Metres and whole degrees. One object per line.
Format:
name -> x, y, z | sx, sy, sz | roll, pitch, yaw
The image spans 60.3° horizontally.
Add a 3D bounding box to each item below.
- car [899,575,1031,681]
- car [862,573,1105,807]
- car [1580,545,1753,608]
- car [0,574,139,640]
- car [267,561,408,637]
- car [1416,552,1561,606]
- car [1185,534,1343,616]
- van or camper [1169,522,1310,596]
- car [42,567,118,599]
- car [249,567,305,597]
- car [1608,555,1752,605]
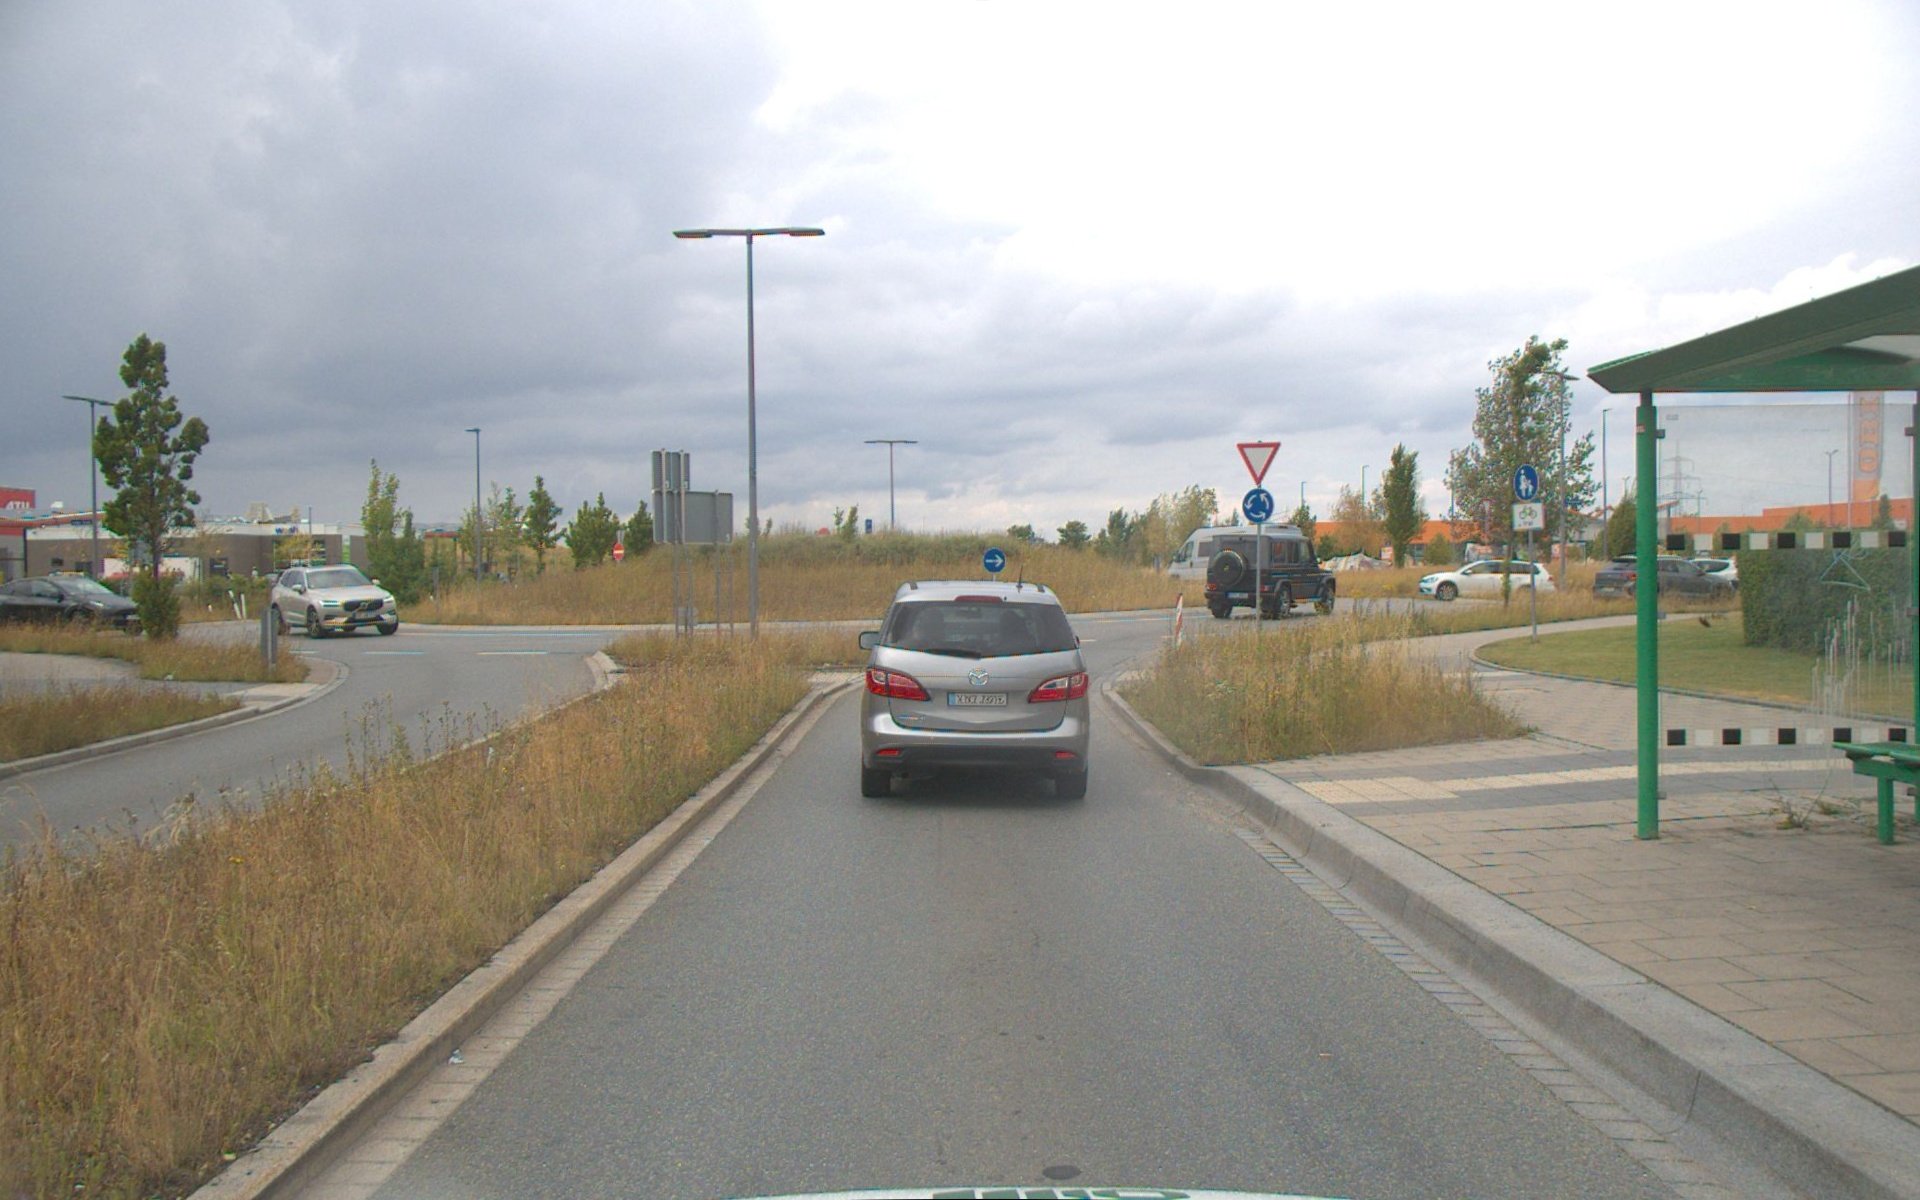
car -> 0.114, 0.358, 24.942 | 1.806, 1.443, 4.225 | -1, 1, 1
car -> 0.119, 0.603, 13.463 | 1.695, 1.628, 3.806 | 0, 1, -2
car -> 19.982, -0.682, 46.842 | 4.120, 1.620, 2.057 | -2, 1, -15
car -> -21.518, 0.143, 39.682 | 4.332, 1.510, 1.772 | 0, 1, 41
car -> -15.049, -0.041, 39.897 | 2.013, 1.720, 4.155 | -1, 0, -39
car -> 17.997, -0.700, 56.531 | 4.503, 1.788, 2.002 | 0, 0, 10
car -> 7.418, -0.590, 39.970 | 2.023, 1.857, 4.770 | 0, 0, 34
van or camper -> 10.026, -1.451, 59.714 | 2.279, 2.549, 5.152 | 0, 1, -30
car -> -57.574, -1.093, 108.286 | 3.906, 2.049, 1.999 | 0, 0, -2
car -> -44.367, -1.170, 107.547 | 1.952, 1.892, 4.000 | 0, 1, 1
car -> 24.395, -0.674, 56.135 | 4.013, 1.632, 2.001 | 0, 0, 2
